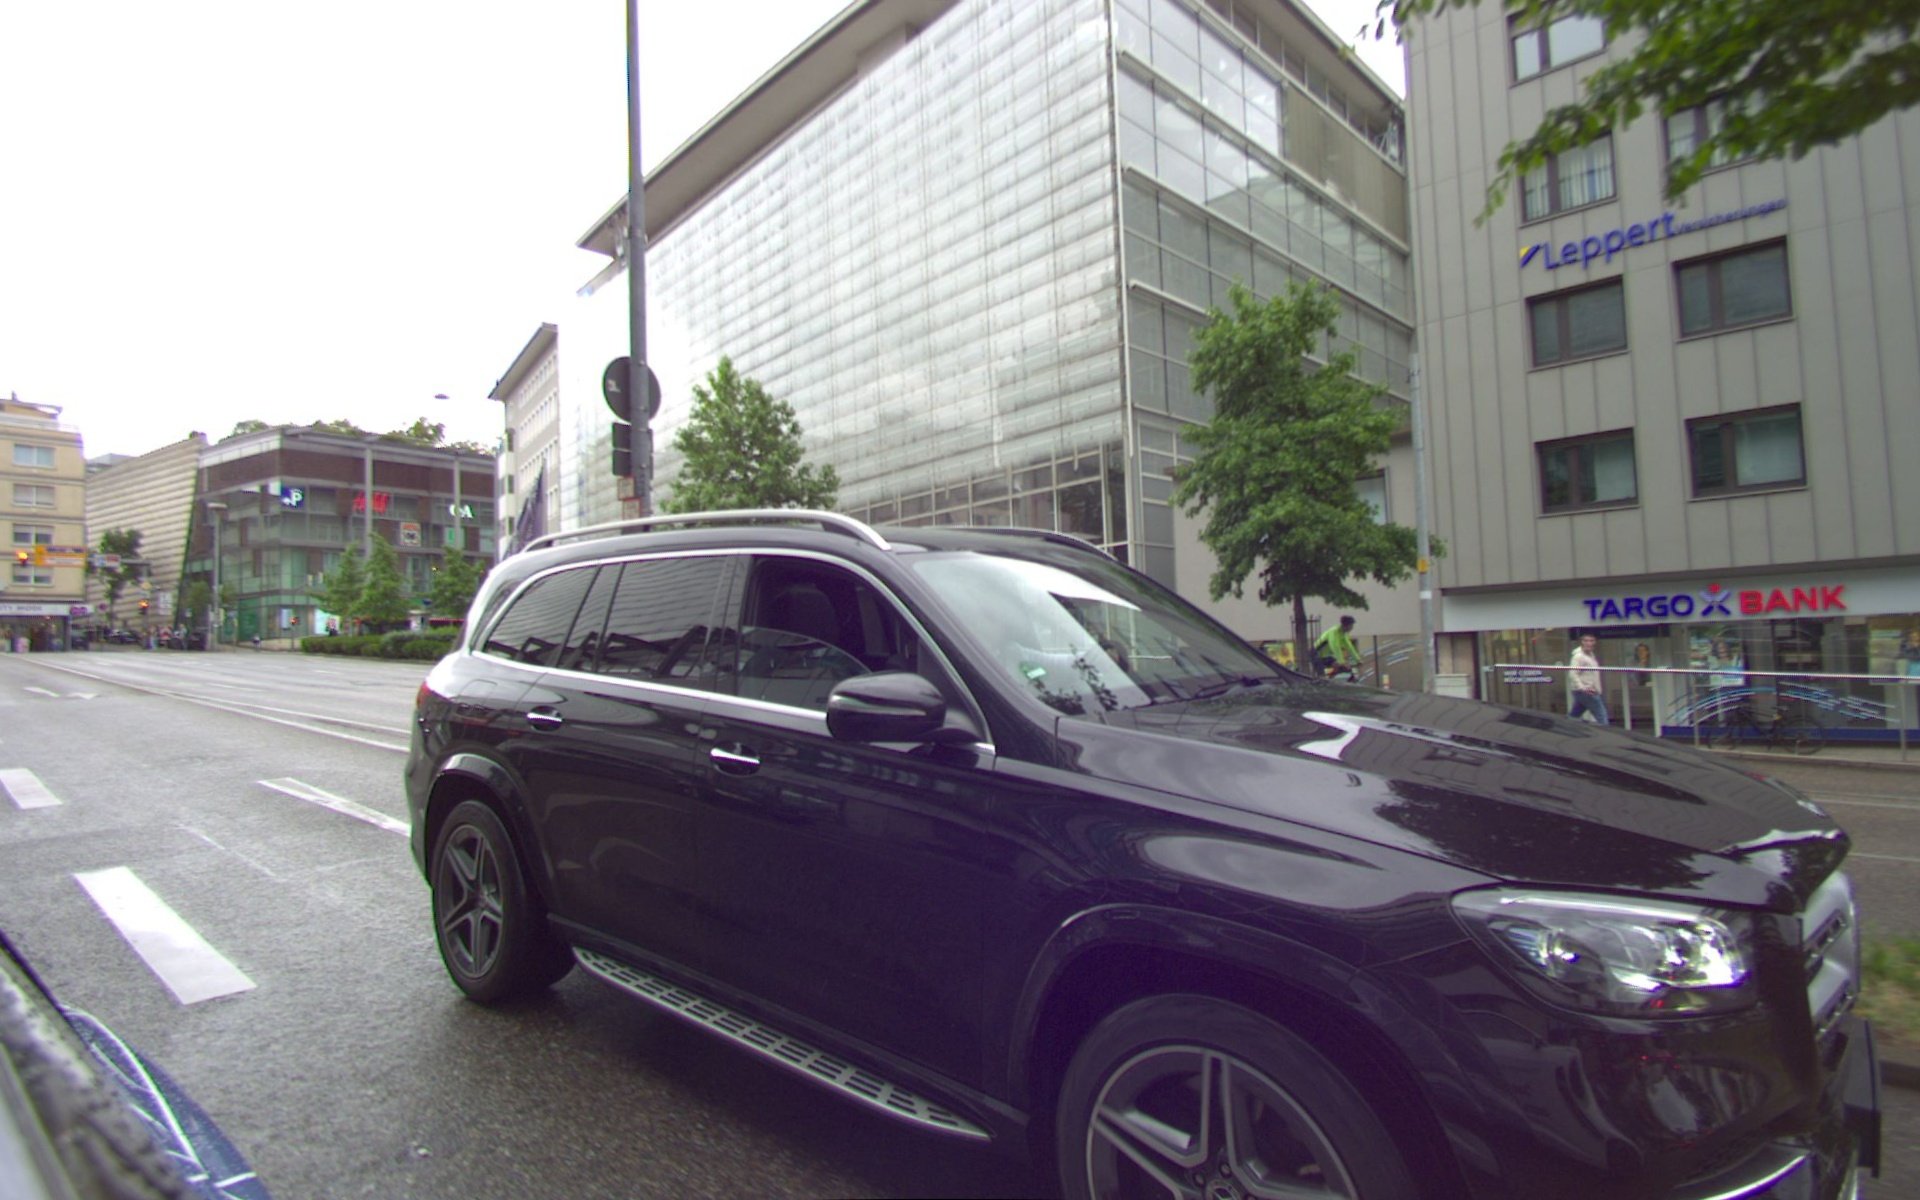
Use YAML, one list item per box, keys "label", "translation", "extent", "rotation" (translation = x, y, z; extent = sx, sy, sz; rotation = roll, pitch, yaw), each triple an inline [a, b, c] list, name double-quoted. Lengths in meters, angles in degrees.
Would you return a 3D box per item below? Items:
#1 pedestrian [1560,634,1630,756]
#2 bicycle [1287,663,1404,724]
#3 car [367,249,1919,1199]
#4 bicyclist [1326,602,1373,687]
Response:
- label: "pedestrian"
  translation: [9.767, 1.438, 15.580]
  extent: [0.543, 1.797, 0.752]
  rotation: [-1, 0, -38]
- label: "bicycle"
  translation: [7.104, 1.700, 18.721]
  extent: [0.608, 1.008, 1.942]
  rotation: [3, -3, -45]
- label: "car"
  translation: [-0.039, 0.557, 3.420]
  extent: [5.071, 1.884, 1.891]
  rotation: [-1, 0, 41]
- label: "bicyclist"
  translation: [7.196, 0.821, 18.715]
  extent: [0.609, 1.542, 0.624]
  rotation: [-2, -3, 43]
